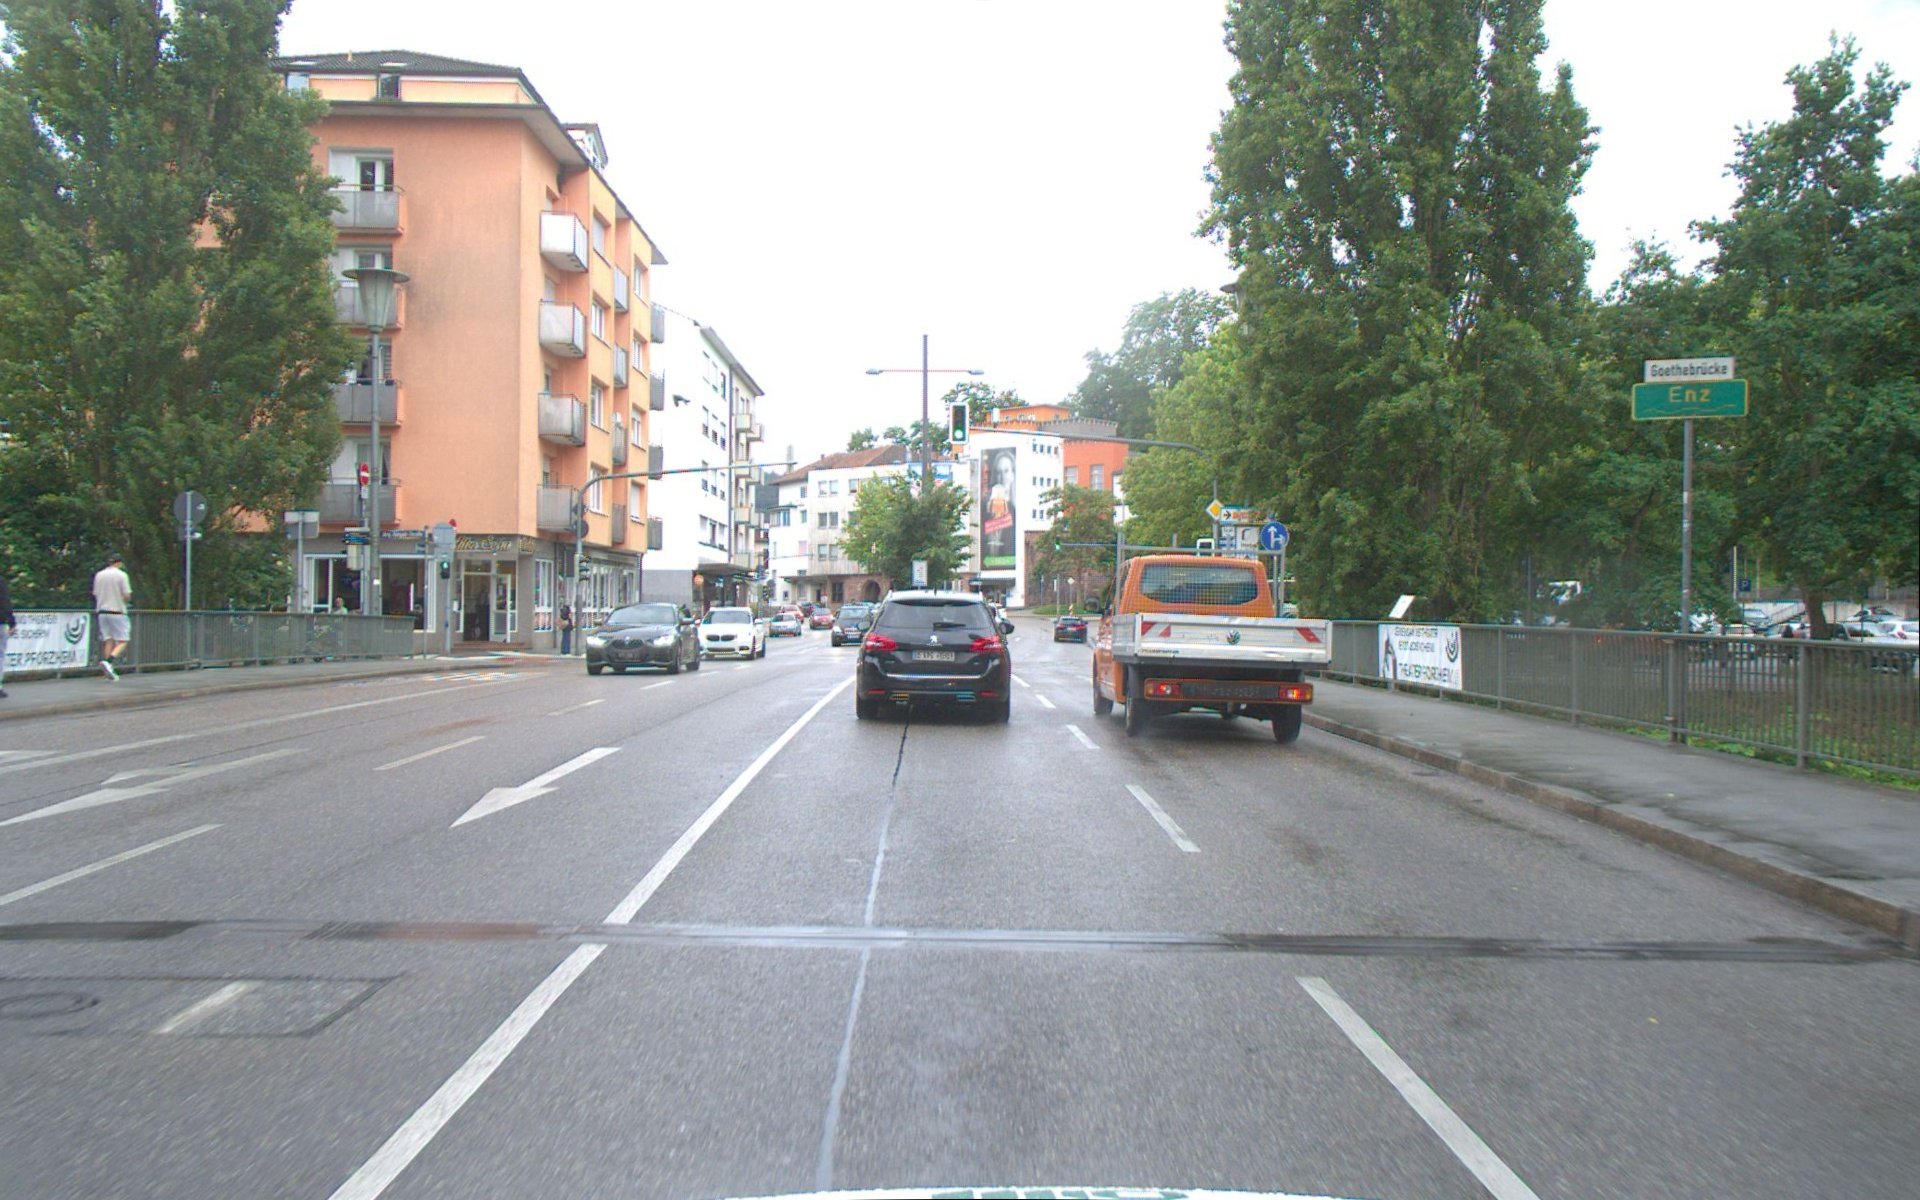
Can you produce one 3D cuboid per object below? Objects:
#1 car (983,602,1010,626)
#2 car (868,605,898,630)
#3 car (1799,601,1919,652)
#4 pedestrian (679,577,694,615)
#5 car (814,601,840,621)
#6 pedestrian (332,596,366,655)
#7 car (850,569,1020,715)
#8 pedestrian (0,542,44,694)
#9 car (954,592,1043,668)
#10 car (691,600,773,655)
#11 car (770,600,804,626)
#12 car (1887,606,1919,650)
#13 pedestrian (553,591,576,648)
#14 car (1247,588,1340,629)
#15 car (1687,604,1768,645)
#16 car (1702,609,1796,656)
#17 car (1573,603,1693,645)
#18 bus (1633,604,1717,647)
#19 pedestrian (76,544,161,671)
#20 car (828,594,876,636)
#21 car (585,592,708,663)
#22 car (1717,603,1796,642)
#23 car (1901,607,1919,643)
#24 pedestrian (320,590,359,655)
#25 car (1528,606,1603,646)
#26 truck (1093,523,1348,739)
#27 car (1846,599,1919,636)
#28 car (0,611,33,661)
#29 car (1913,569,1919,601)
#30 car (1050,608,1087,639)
[{"bbox_3d":[2.818,1.091,129.840,1.953,1.853,3.999,1,0,-1],"label":"car"},{"bbox_3d":[-4.614,1.044,99.618,1.620,1.475,3.543,-1,0,0],"label":"car"},{"bbox_3d":[33.033,0.930,60.891,1.764,1.795,4.583,1,0,-3],"label":"car"},{"bbox_3d":[-13.724,-0.203,82.923,0.626,1.893,0.523,1,0,-2],"label":"pedestrian"},{"bbox_3d":[-9.716,0.823,121.187,1.631,1.424,3.875,-1,0,-1],"label":"car"},{"bbox_3d":[-15.656,0.657,42.378,0.639,1.471,0.798,-1,-2,-6],"label":"pedestrian"},{"bbox_3d":[-0.199,0.475,19.713,1.757,1.509,4.001,2,-1,2],"label":"car"},{"bbox_3d":[-11.811,0.214,20.156,0.683,1.825,0.959,1,-1,2],"label":"pedestrian"},{"bbox_3d":[0.840,0.604,34.692,1.757,1.509,4.001,0,0,2],"label":"car"},{"bbox_3d":[-6.697,0.766,49.023,1.798,1.536,4.820,0,0,0],"label":"car"},{"bbox_3d":[-10.669,0.808,102.193,1.741,1.552,3.660,1,0,-1],"label":"car"},{"bbox_3d":[39.983,1.164,67.258,1.891,1.788,4.593,1,0,-1],"label":"car"},{"bbox_3d":[-12.175,0.598,50.954,0.519,1.757,0.649,0,0,3],"label":"pedestrian"},{"bbox_3d":[15.282,0.385,75.925,3.904,1.678,1.918,3,0,2],"label":"car"},{"bbox_3d":[33.377,1.043,72.039,1.781,1.680,4.001,1,0,2],"label":"car"},{"bbox_3d":[31.670,1.277,66.509,1.764,1.795,3.944,1,0,-3],"label":"car"},{"bbox_3d":[26.554,0.947,65.310,4.040,1.649,1.804,0,0,-5],"label":"car"},{"bbox_3d":[30.680,1.092,71.087,1.952,1.754,4.001,1,0,2],"label":"bus"},{"bbox_3d":[-12.324,0.112,24.248,0.780,1.825,0.812,1,-1,2],"label":"pedestrian"},{"bbox_3d":[-4.356,0.607,67.411,1.701,1.629,3.919,-1,0,-1],"label":"car"},{"bbox_3d":[-6.326,0.523,33.799,1.755,1.348,4.405,0,0,-1],"label":"car"},{"bbox_3d":[35.901,1.011,74.658,1.781,1.680,4.001,1,0,2],"label":"car"},{"bbox_3d":[43.646,1.125,72.985,1.769,1.577,4.201,1,0,-1],"label":"car"},{"bbox_3d":[-16.243,0.595,43.303,0.783,1.692,0.619,-2,-3,34],"label":"pedestrian"},{"bbox_3d":[26.062,1.098,71.272,1.564,1.680,3.633,-1,0,-6],"label":"car"},{"bbox_3d":[2.730,0.276,18.505,2.078,2.060,4.716,1,1,0],"label":"truck"},{"bbox_3d":[41.189,0.766,73.037,1.769,1.577,4.201,1,0,-1],"label":"car"},{"bbox_3d":[-29.306,1.065,47.810,3.905,1.412,1.899,-1,0,0],"label":"car"},{"bbox_3d":[58.025,-0.816,95.235,5.210,1.788,1.936,1,-1,23],"label":"car"},{"bbox_3d":[6.164,1.366,94.069,1.612,1.591,3.597,3,-2,-3],"label":"car"}]
